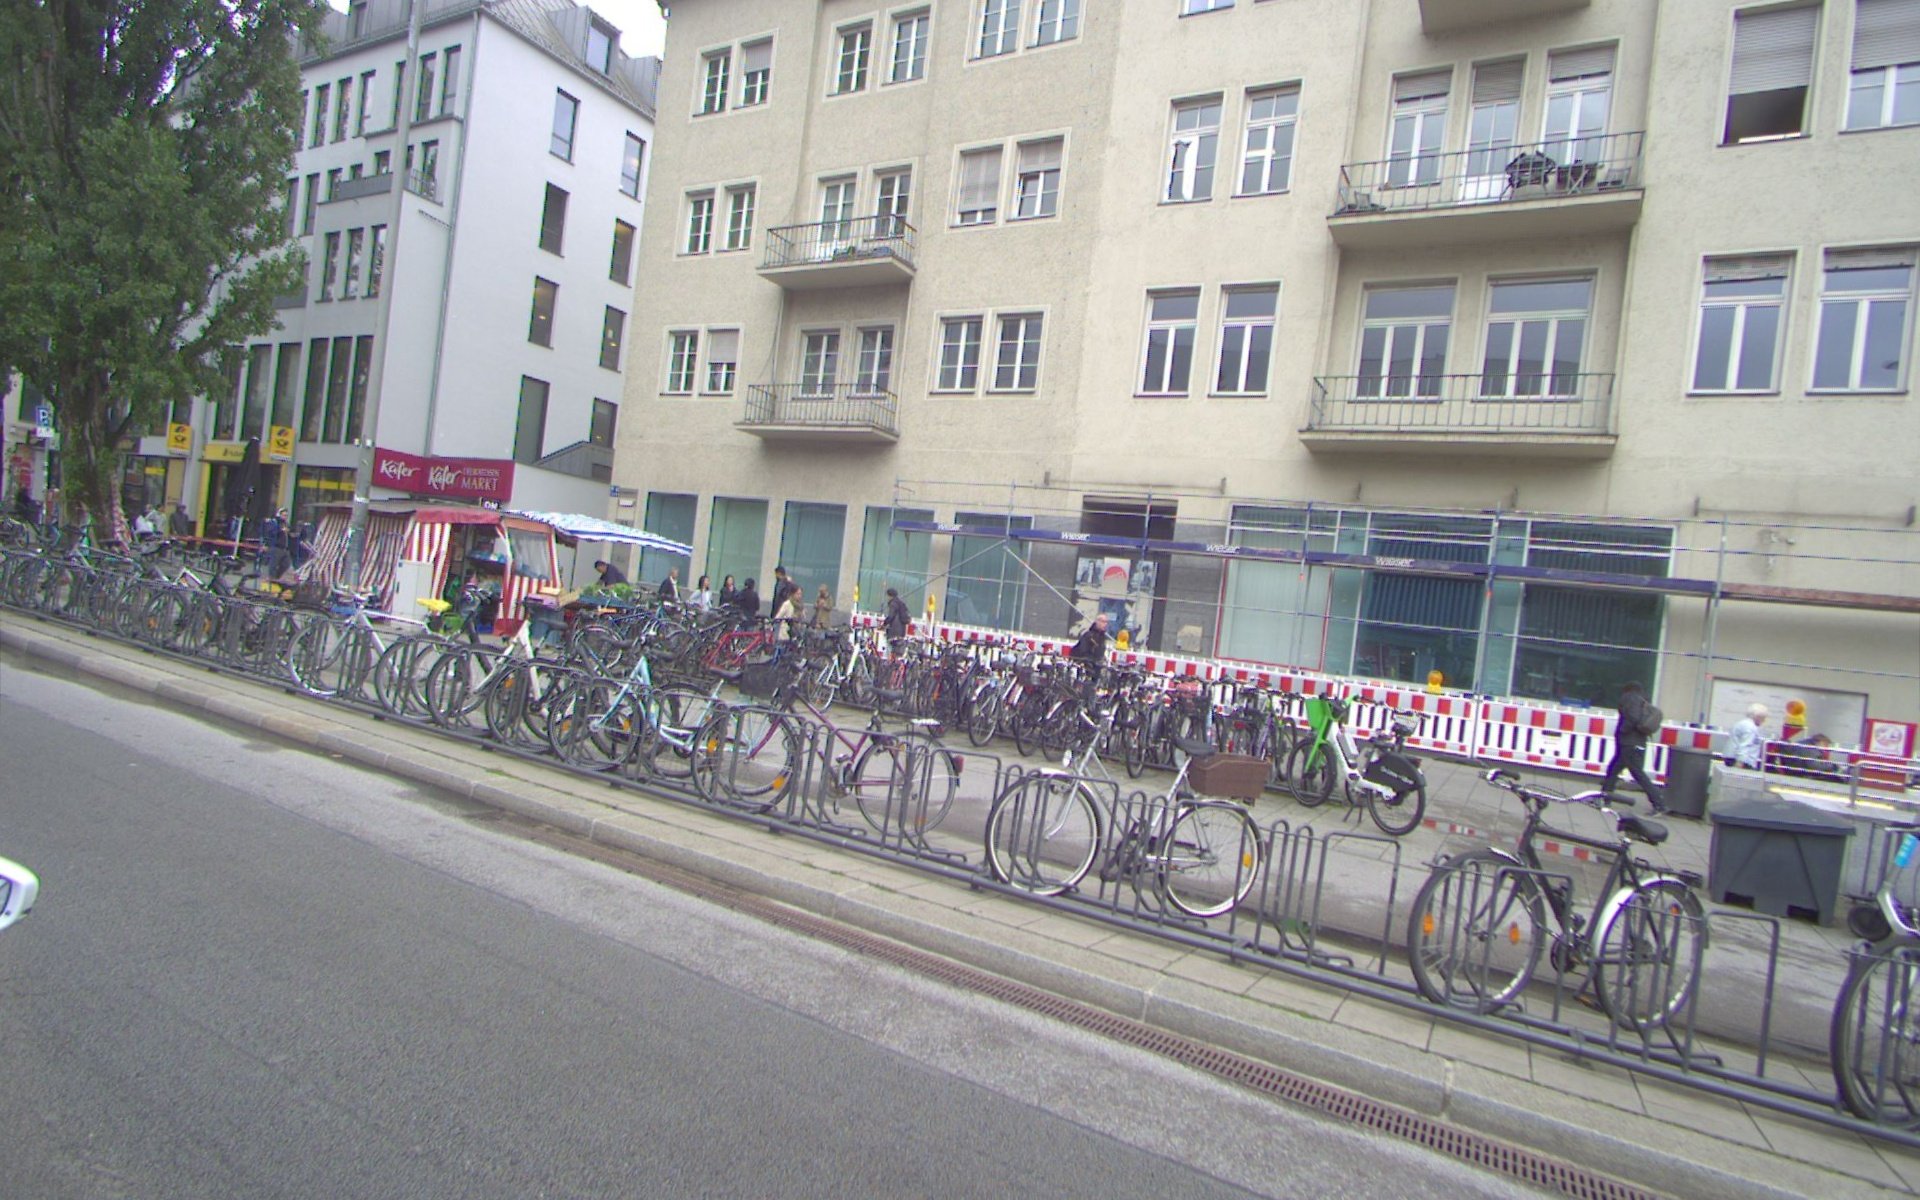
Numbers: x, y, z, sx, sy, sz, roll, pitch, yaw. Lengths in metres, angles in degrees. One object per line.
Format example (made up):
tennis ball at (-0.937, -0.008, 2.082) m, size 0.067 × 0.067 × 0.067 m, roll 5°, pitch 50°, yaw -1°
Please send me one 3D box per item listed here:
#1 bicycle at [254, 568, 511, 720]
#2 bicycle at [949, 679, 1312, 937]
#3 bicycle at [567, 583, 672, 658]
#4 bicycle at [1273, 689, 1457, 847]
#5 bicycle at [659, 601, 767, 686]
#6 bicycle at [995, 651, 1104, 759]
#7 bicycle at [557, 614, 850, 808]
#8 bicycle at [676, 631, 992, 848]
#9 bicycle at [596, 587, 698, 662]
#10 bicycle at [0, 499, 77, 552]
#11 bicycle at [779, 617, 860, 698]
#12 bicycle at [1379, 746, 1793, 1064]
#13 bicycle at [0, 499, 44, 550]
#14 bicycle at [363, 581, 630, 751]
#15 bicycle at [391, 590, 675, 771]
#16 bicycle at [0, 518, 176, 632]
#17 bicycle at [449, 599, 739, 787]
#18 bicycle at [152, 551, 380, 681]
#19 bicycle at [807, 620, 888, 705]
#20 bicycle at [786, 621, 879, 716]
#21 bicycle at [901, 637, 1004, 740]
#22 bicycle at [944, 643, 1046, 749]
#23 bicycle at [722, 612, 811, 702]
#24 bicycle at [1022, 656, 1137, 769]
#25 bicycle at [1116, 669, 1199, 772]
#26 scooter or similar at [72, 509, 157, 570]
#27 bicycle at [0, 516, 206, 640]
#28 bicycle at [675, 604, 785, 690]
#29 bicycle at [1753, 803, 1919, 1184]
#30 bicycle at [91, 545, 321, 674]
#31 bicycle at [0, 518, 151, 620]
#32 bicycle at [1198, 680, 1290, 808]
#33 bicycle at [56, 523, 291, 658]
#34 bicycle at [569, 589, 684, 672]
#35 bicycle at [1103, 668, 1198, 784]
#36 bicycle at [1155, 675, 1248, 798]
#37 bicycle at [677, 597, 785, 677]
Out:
bicycle at (-5.008, 0.398, 8.834) m, size 1.779 × 1.021 × 0.384 m, roll 11°, pitch -2°, yaw -21°
bicycle at (0.919, 1.120, 5.416) m, size 1.768 × 1.150 × 0.488 m, roll 8°, pitch -1°, yaw -16°
bicycle at (-5.578, 0.358, 16.553) m, size 0.404 × 1.117 × 1.628 m, roll 7°, pitch 1°, yaw 35°
bicycle at (3.627, 1.477, 9.182) m, size 0.404 × 1.091 × 1.754 m, roll 6°, pitch 1°, yaw -19°
bicycle at (-3.433, 0.626, 14.091) m, size 0.404 × 1.091 × 1.478 m, roll 7°, pitch 1°, yaw 35°
bicycle at (1.045, 1.162, 11.395) m, size 0.403 × 1.091 × 1.658 m, roll 7°, pitch 1°, yaw 32°
bicycle at (-1.796, 0.796, 7.192) m, size 1.825 × 1.070 × 0.396 m, roll 11°, pitch -2°, yaw -15°
bicycle at (-0.794, 0.899, 6.465) m, size 1.825 × 1.070 × 0.396 m, roll 11°, pitch -2°, yaw -15°
bicycle at (-5.066, 0.419, 16.379) m, size 0.403 × 1.117 × 1.630 m, roll 7°, pitch 1°, yaw 32°
bicycle at (-25.275, -2.036, 27.462) m, size 0.696 × 1.174 × 1.625 m, roll 7°, pitch 0°, yaw 44°
bicycle at (-2.022, 0.827, 14.686) m, size 0.403 × 1.091 × 1.452 m, roll 7°, pitch 1°, yaw 22°
bicycle at (2.768, 1.324, 4.414) m, size 1.772 × 1.150 × 0.487 m, roll 8°, pitch -1°, yaw -22°
bicycle at (-24.577, -1.987, 26.252) m, size 1.606 × 1.174 × 0.478 m, roll 7°, pitch 0°, yaw 31°
bicycle at (-3.699, 0.544, 8.155) m, size 1.779 × 1.070 × 0.395 m, roll 11°, pitch -2°, yaw -21°
bicycle at (-3.234, 0.629, 7.758) m, size 1.825 × 1.070 × 0.396 m, roll 11°, pitch -2°, yaw -15°
bicycle at (-10.861, -0.296, 12.346) m, size 1.779 × 1.065 × 0.365 m, roll 11°, pitch -2°, yaw -22°
bicycle at (-2.651, 0.693, 7.440) m, size 1.825 × 1.070 × 0.396 m, roll 11°, pitch -2°, yaw -15°
bicycle at (-7.150, 0.180, 10.451) m, size 1.779 × 1.021 × 0.384 m, roll 11°, pitch -2°, yaw -21°
bicycle at (-1.566, 0.870, 14.239) m, size 0.403 × 1.091 × 1.452 m, roll 7°, pitch 1°, yaw 22°
bicycle at (-1.579, 0.839, 12.645) m, size 0.403 × 1.091 × 1.452 m, roll 7°, pitch 1°, yaw 22°
bicycle at (-0.057, 1.021, 11.823) m, size 0.403 × 1.091 × 1.537 m, roll 7°, pitch 1°, yaw 29°
bicycle at (0.429, 1.072, 11.511) m, size 0.403 × 1.091 × 1.526 m, roll 7°, pitch 1°, yaw 29°
bicycle at (-2.536, 0.736, 13.332) m, size 0.402 × 1.091 × 1.453 m, roll 7°, pitch 1°, yaw 18°
bicycle at (1.325, 1.188, 10.891) m, size 0.404 × 1.091 × 1.634 m, roll 7°, pitch 1°, yaw 35°
bicycle at (2.362, 1.389, 11.937) m, size 0.403 × 1.091 × 1.528 m, roll 7°, pitch 1°, yaw 29°
scooter or similar at (-19.360, -1.368, 23.063) m, size 0.393 × 1.222 × 1.470 m, roll 7°, pitch 0°, yaw 13°
bicycle at (-10.257, -0.244, 12.003) m, size 1.779 × 1.117 × 0.544 m, roll 11°, pitch -2°, yaw -21°
bicycle at (-3.111, 0.659, 13.720) m, size 0.404 × 1.091 × 1.447 m, roll 7°, pitch 1°, yaw 38°
bicycle at (3.938, 1.456, 3.836) m, size 1.773 × 1.150 × 0.587 m, roll 8°, pitch -1°, yaw -24°
bicycle at (-7.890, 0.113, 10.594) m, size 1.777 × 1.021 × 0.385 m, roll 11°, pitch -2°, yaw -17°
bicycle at (-12.251, -0.428, 13.631) m, size 1.779 × 1.065 × 0.544 m, roll 11°, pitch -2°, yaw -21°
bicycle at (2.836, 1.372, 9.948) m, size 0.403 × 1.091 × 1.653 m, roll 7°, pitch 1°, yaw 29°
bicycle at (-8.488, -0.083, 10.944) m, size 1.779 × 1.117 × 0.544 m, roll 11°, pitch -2°, yaw -21°
bicycle at (-4.834, 0.459, 14.637) m, size 1.465 × 1.091 × 0.405 m, roll 6°, pitch 1°, yaw -44°
bicycle at (2.058, 1.300, 10.726) m, size 0.403 × 1.091 × 1.623 m, roll 7°, pitch 1°, yaw 29°
bicycle at (2.479, 1.335, 10.215) m, size 0.403 × 1.091 × 1.603 m, roll 7°, pitch 1°, yaw 29°
bicycle at (-3.478, 0.588, 15.396) m, size 0.404 × 1.117 × 1.627 m, roll 7°, pitch 1°, yaw 39°
